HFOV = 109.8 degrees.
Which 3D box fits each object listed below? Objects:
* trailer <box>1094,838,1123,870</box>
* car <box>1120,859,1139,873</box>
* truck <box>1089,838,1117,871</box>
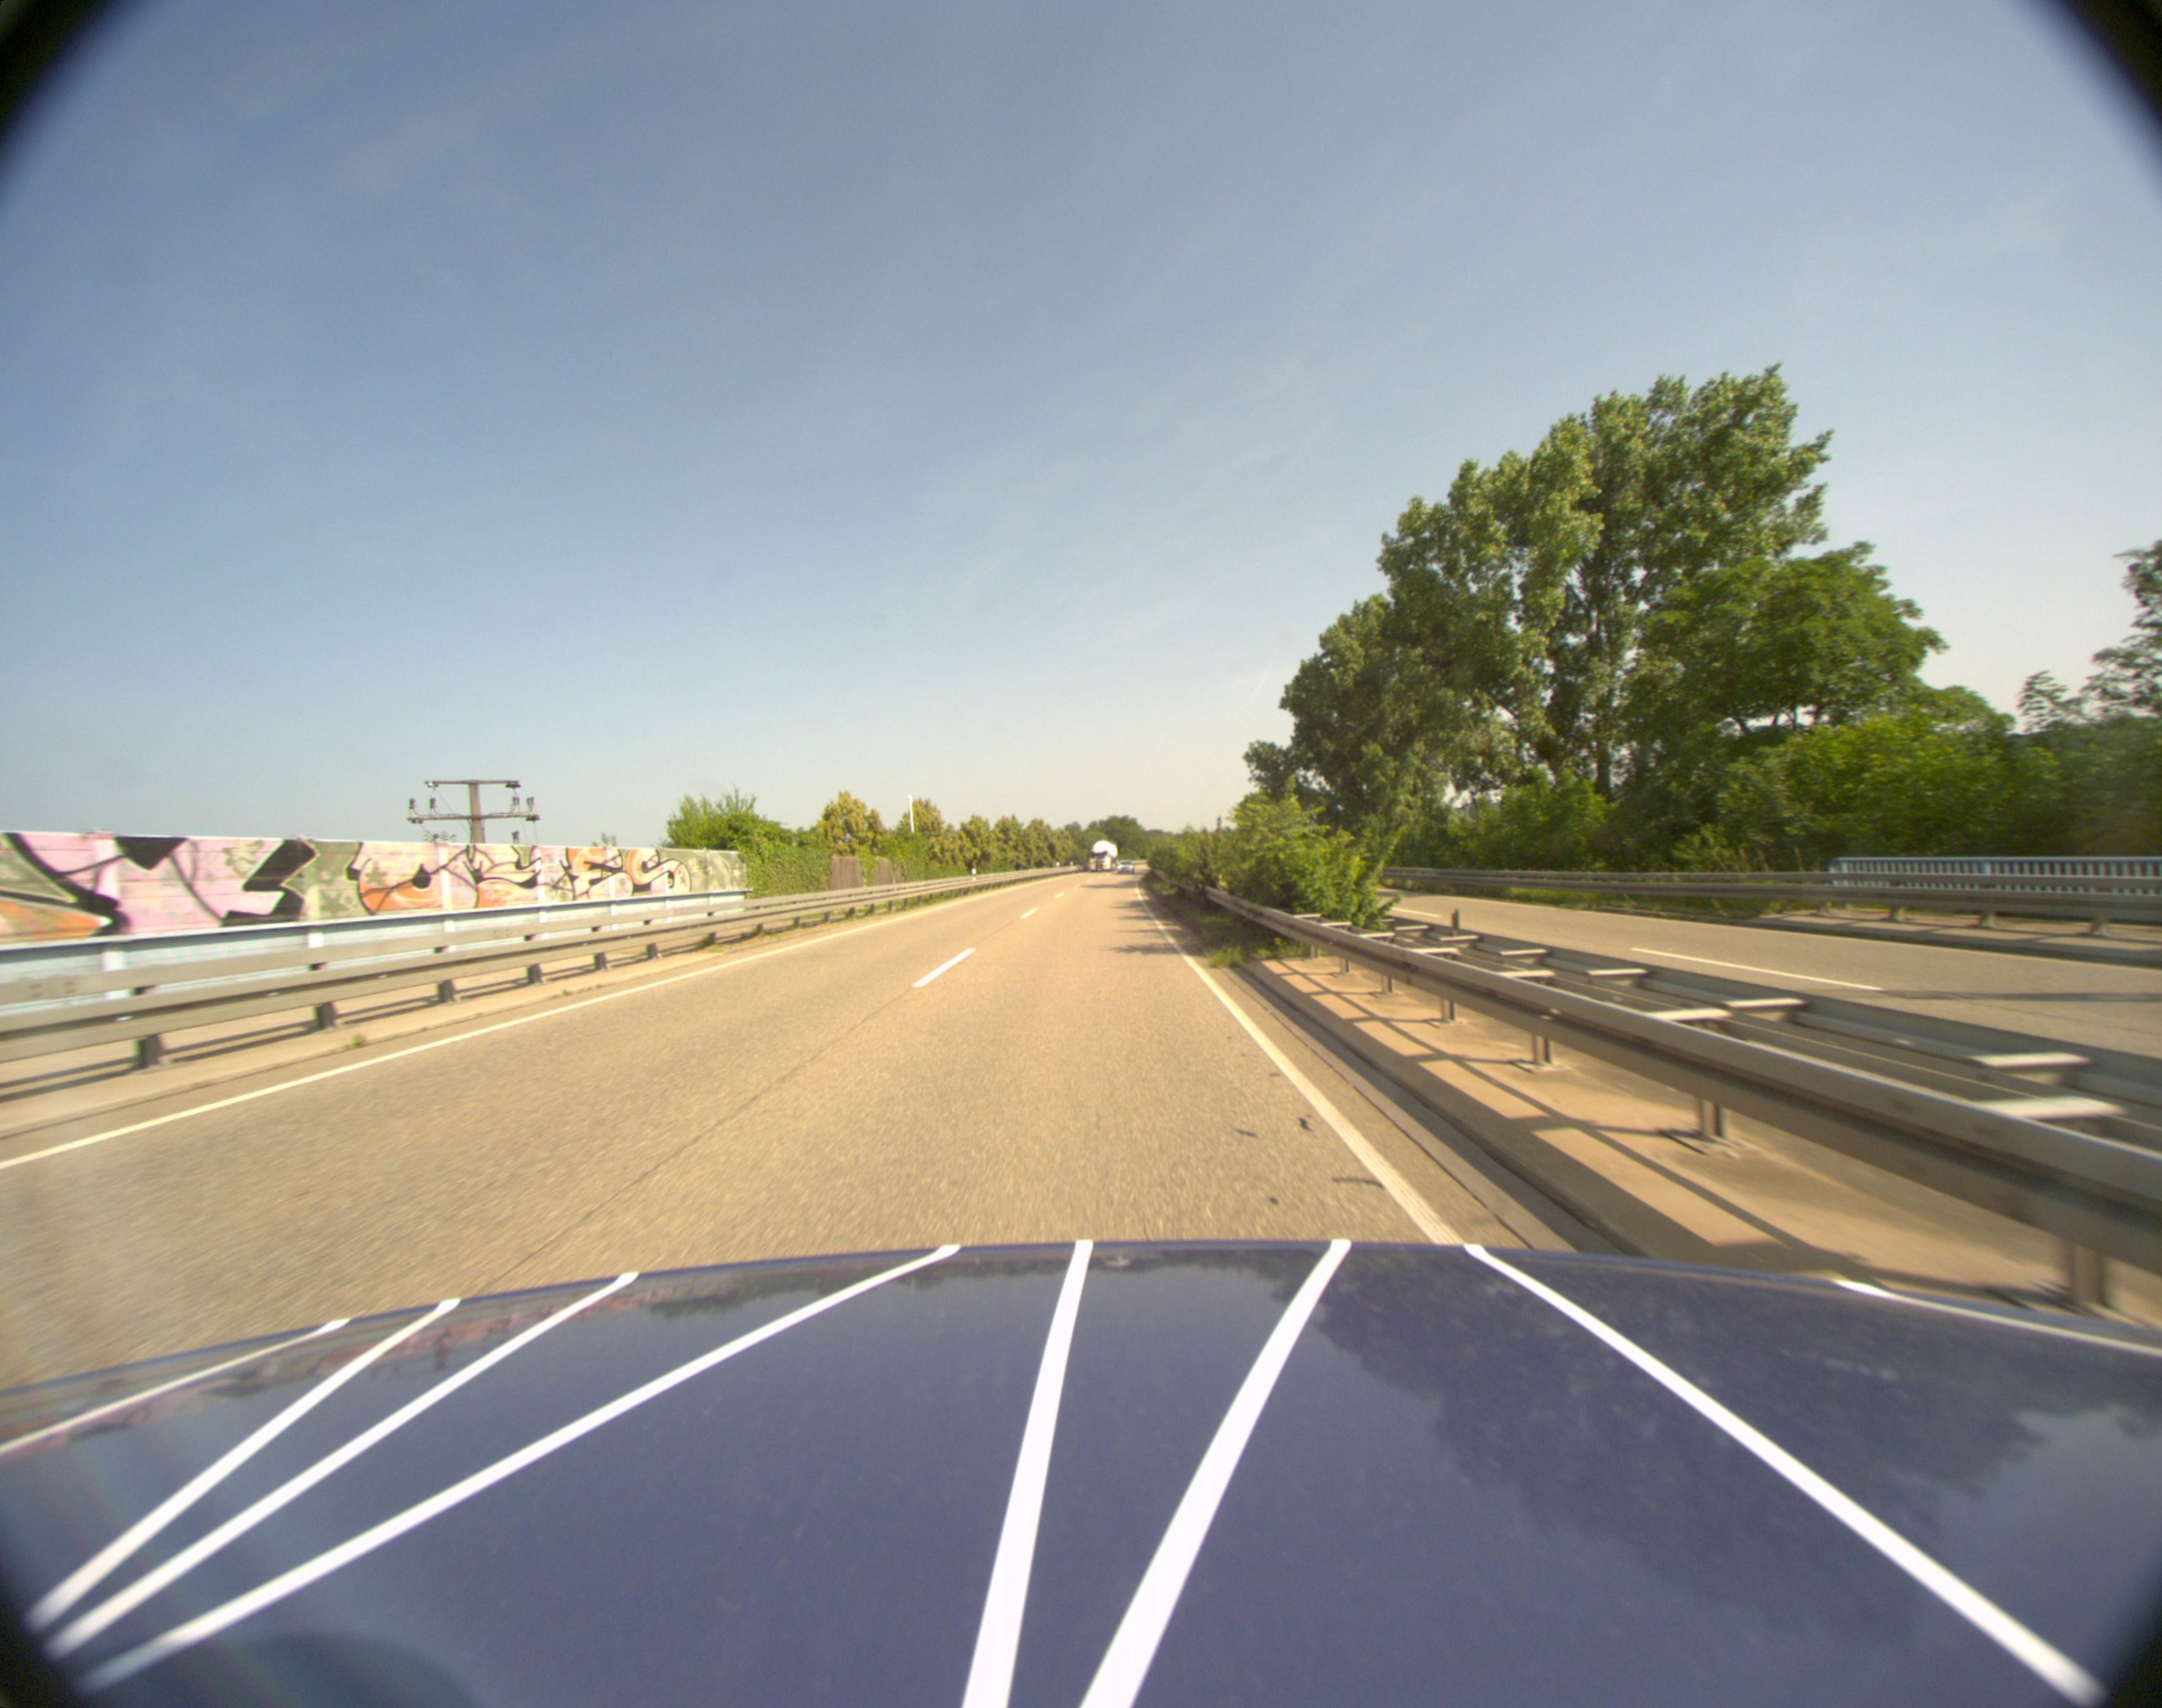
[{"bbox_3d":[3.727,-0.047,102.022,2.761,3.968,8.191,-1,1,10],"label":"trailer"},{"bbox_3d":[5.383,1.284,84.202,1.788,1.427,4.002,-2,0,8],"label":"car"},{"bbox_3d":[2.807,0.023,96.432,2.777,3.939,5.631,-1,1,9],"label":"truck"}]
